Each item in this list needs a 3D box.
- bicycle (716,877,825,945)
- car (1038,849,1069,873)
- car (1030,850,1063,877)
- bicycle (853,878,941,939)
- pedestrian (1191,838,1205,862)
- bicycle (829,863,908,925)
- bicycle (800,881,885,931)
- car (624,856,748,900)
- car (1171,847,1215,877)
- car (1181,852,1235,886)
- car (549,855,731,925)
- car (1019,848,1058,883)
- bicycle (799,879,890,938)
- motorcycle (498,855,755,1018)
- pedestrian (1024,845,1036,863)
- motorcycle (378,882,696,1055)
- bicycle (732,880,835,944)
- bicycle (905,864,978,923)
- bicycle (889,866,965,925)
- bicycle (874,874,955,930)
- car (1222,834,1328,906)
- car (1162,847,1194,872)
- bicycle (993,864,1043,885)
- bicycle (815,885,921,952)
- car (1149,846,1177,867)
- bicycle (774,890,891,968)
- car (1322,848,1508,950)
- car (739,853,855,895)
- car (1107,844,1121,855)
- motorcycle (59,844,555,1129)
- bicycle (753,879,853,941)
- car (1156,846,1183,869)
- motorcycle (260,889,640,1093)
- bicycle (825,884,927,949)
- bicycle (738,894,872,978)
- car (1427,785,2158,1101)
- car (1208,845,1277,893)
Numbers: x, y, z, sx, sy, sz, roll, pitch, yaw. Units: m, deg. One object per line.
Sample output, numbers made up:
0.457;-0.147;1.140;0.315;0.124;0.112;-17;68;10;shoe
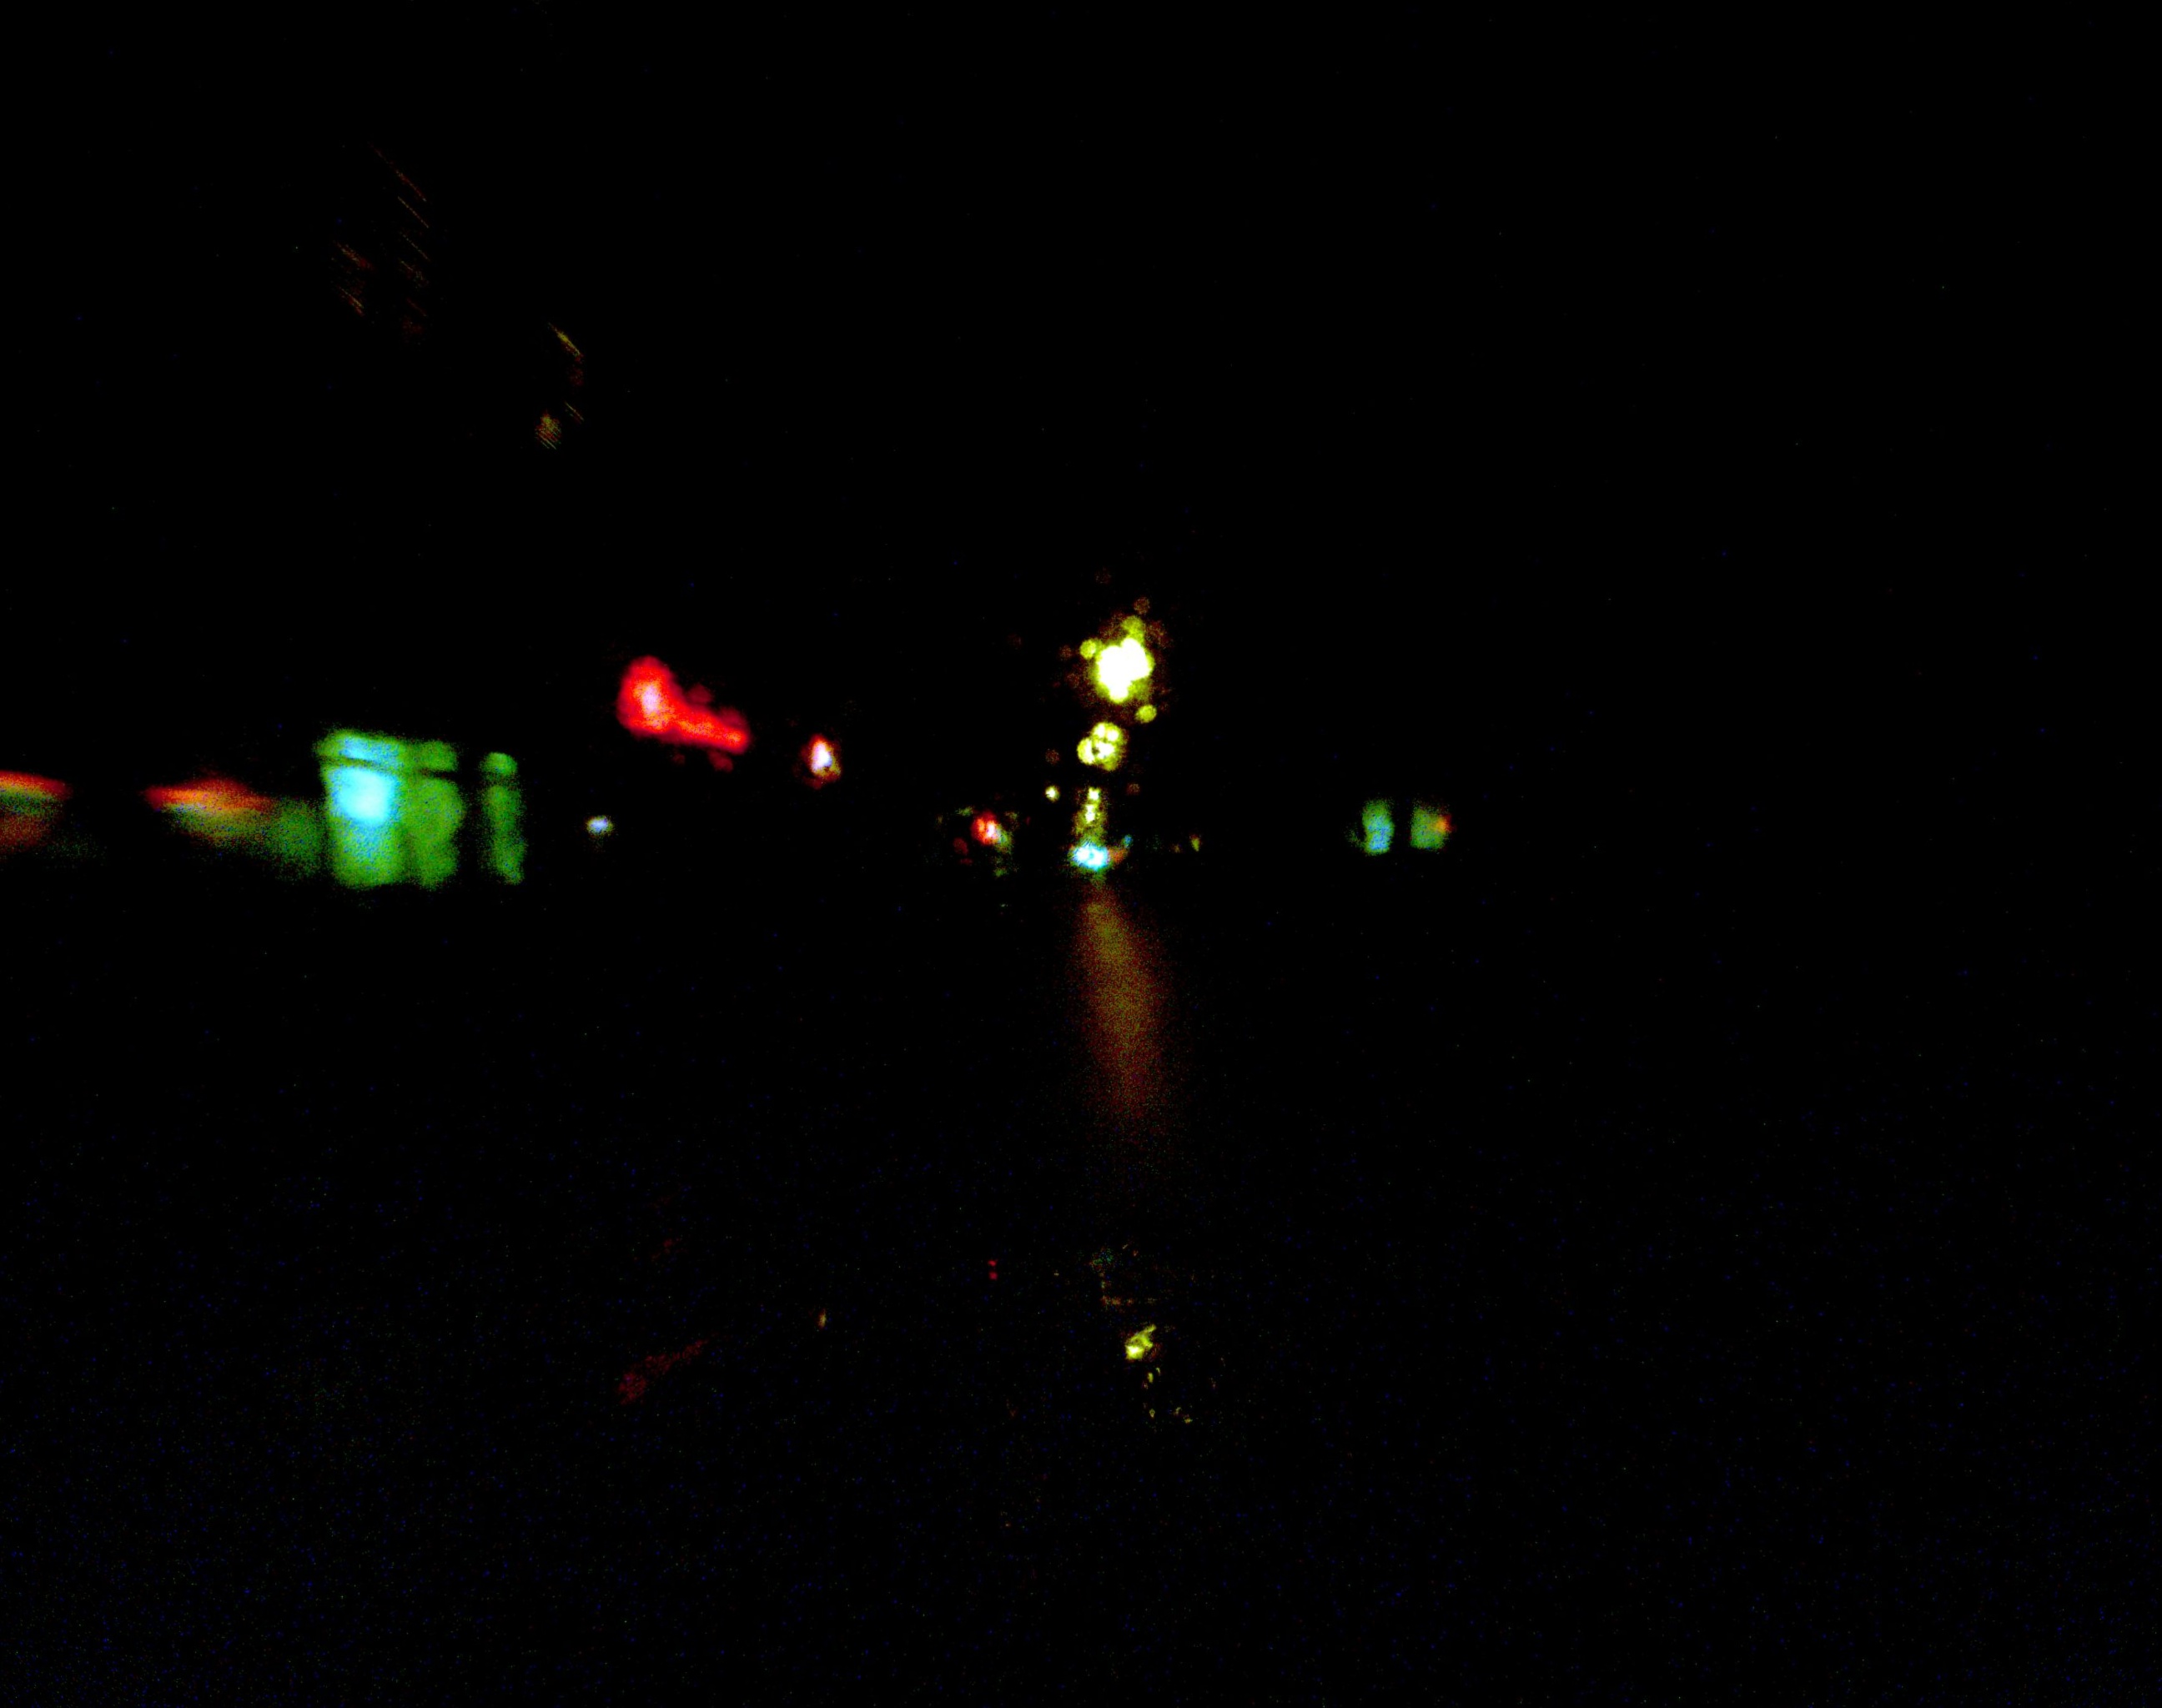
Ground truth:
-4.974;0.913;12.201;1.533;0.947;0.366;4;2;-3;bicycle
-1.793;0.445;50.575;1.846;1.498;4.162;0;1;1;car
-1.997;0.513;45.219;1.689;1.498;4.162;0;1;1;car
-3.504;1.028;14.527;1.532;1.018;0.366;5;2;4;bicycle
9.061;-0.302;59.068;0.912;1.778;0.629;-4;2;2;pedestrian
-4.595;0.864;16.492;1.532;1.196;0.366;4;2;-1;bicycle
-4.704;1.021;14.994;1.532;0.829;0.325;5;2;4;bicycle
-16.223;0.968;31.370;3.996;1.499;2.000;-4;1;2;car
5.839;0.393;40.131;1.731;1.445;4.272;-1;1;1;car
5.668;0.618;34.278;1.731;1.384;4.555;-1;1;1;car
-12.806;1.007;22.233;4.155;1.760;1.842;-3;1;2;car
-2.122;0.545;39.036;1.676;1.712;3.856;0;1;1;car
-4.380;0.998;14.088;1.532;0.947;0.366;5;2;4;bicycle
-4.781;0.836;8.113;2.178;1.538;0.866;3;1;0;motorcycle
-4.775;0.020;71.092;1.007;1.698;0.614;0;1;1;pedestrian
-4.768;0.973;6.779;2.178;1.311;0.866;3;1;0;motorcycle
-5.011;0.980;12.840;1.533;0.947;0.366;4;2;-4;bicycle
-3.197;0.897;17.409;1.532;1.196;0.366;4;2;3;bicycle
-3.427;0.920;16.961;1.532;1.196;0.366;4;2;-1;bicycle
-3.457;1.001;15.832;1.532;1.018;0.366;4;2;-1;bicycle
5.489;0.404;22.167;1.907;1.819;4.829;-1;1;1;car
5.833;0.314;45.775;1.531;1.445;3.383;-1;1;1;car
-2.833;0.920;33.950;2.267;0.889;0.619;0;1;30;bicycle
-3.421;1.038;12.255;1.533;0.947;0.366;4;2;-3;bicycle
6.012;0.204;55.985;1.697;1.470;3.963;-1;-1;2;car
-3.560;1.064;10.890;1.531;0.947;0.366;5;2;8;bicycle
5.453;0.646;12.913;1.573;1.451;3.720;-1;1;1;car
-11.680;0.796;31.396;3.996;1.476;1.895;-3;1;2;car
4.759;-0.632;110.132;1.877;1.386;4.075;-2;-1;4;car
-4.858;0.776;4.900;2.294;1.579;0.866;3;1;0;motorcycle
-4.843;0.975;13.275;1.533;0.947;0.366;4;2;-3;bicycle
6.038;0.244;51.954;1.696;1.470;3.385;-2;-1;5;car
-4.753;0.997;5.847;2.178;1.311;0.866;3;1;0;motorcycle
-3.399;1.037;12.662;1.533;0.947;0.366;4;2;-3;bicycle
-3.717;1.091;10.244;1.672;0.947;0.366;5;2;8;bicycle
5.380;0.511;7.081;2.001;1.819;5.206;-1;1;1;car
5.720;0.475;27.337;1.731;1.565;3.720;-1;1;1;car
